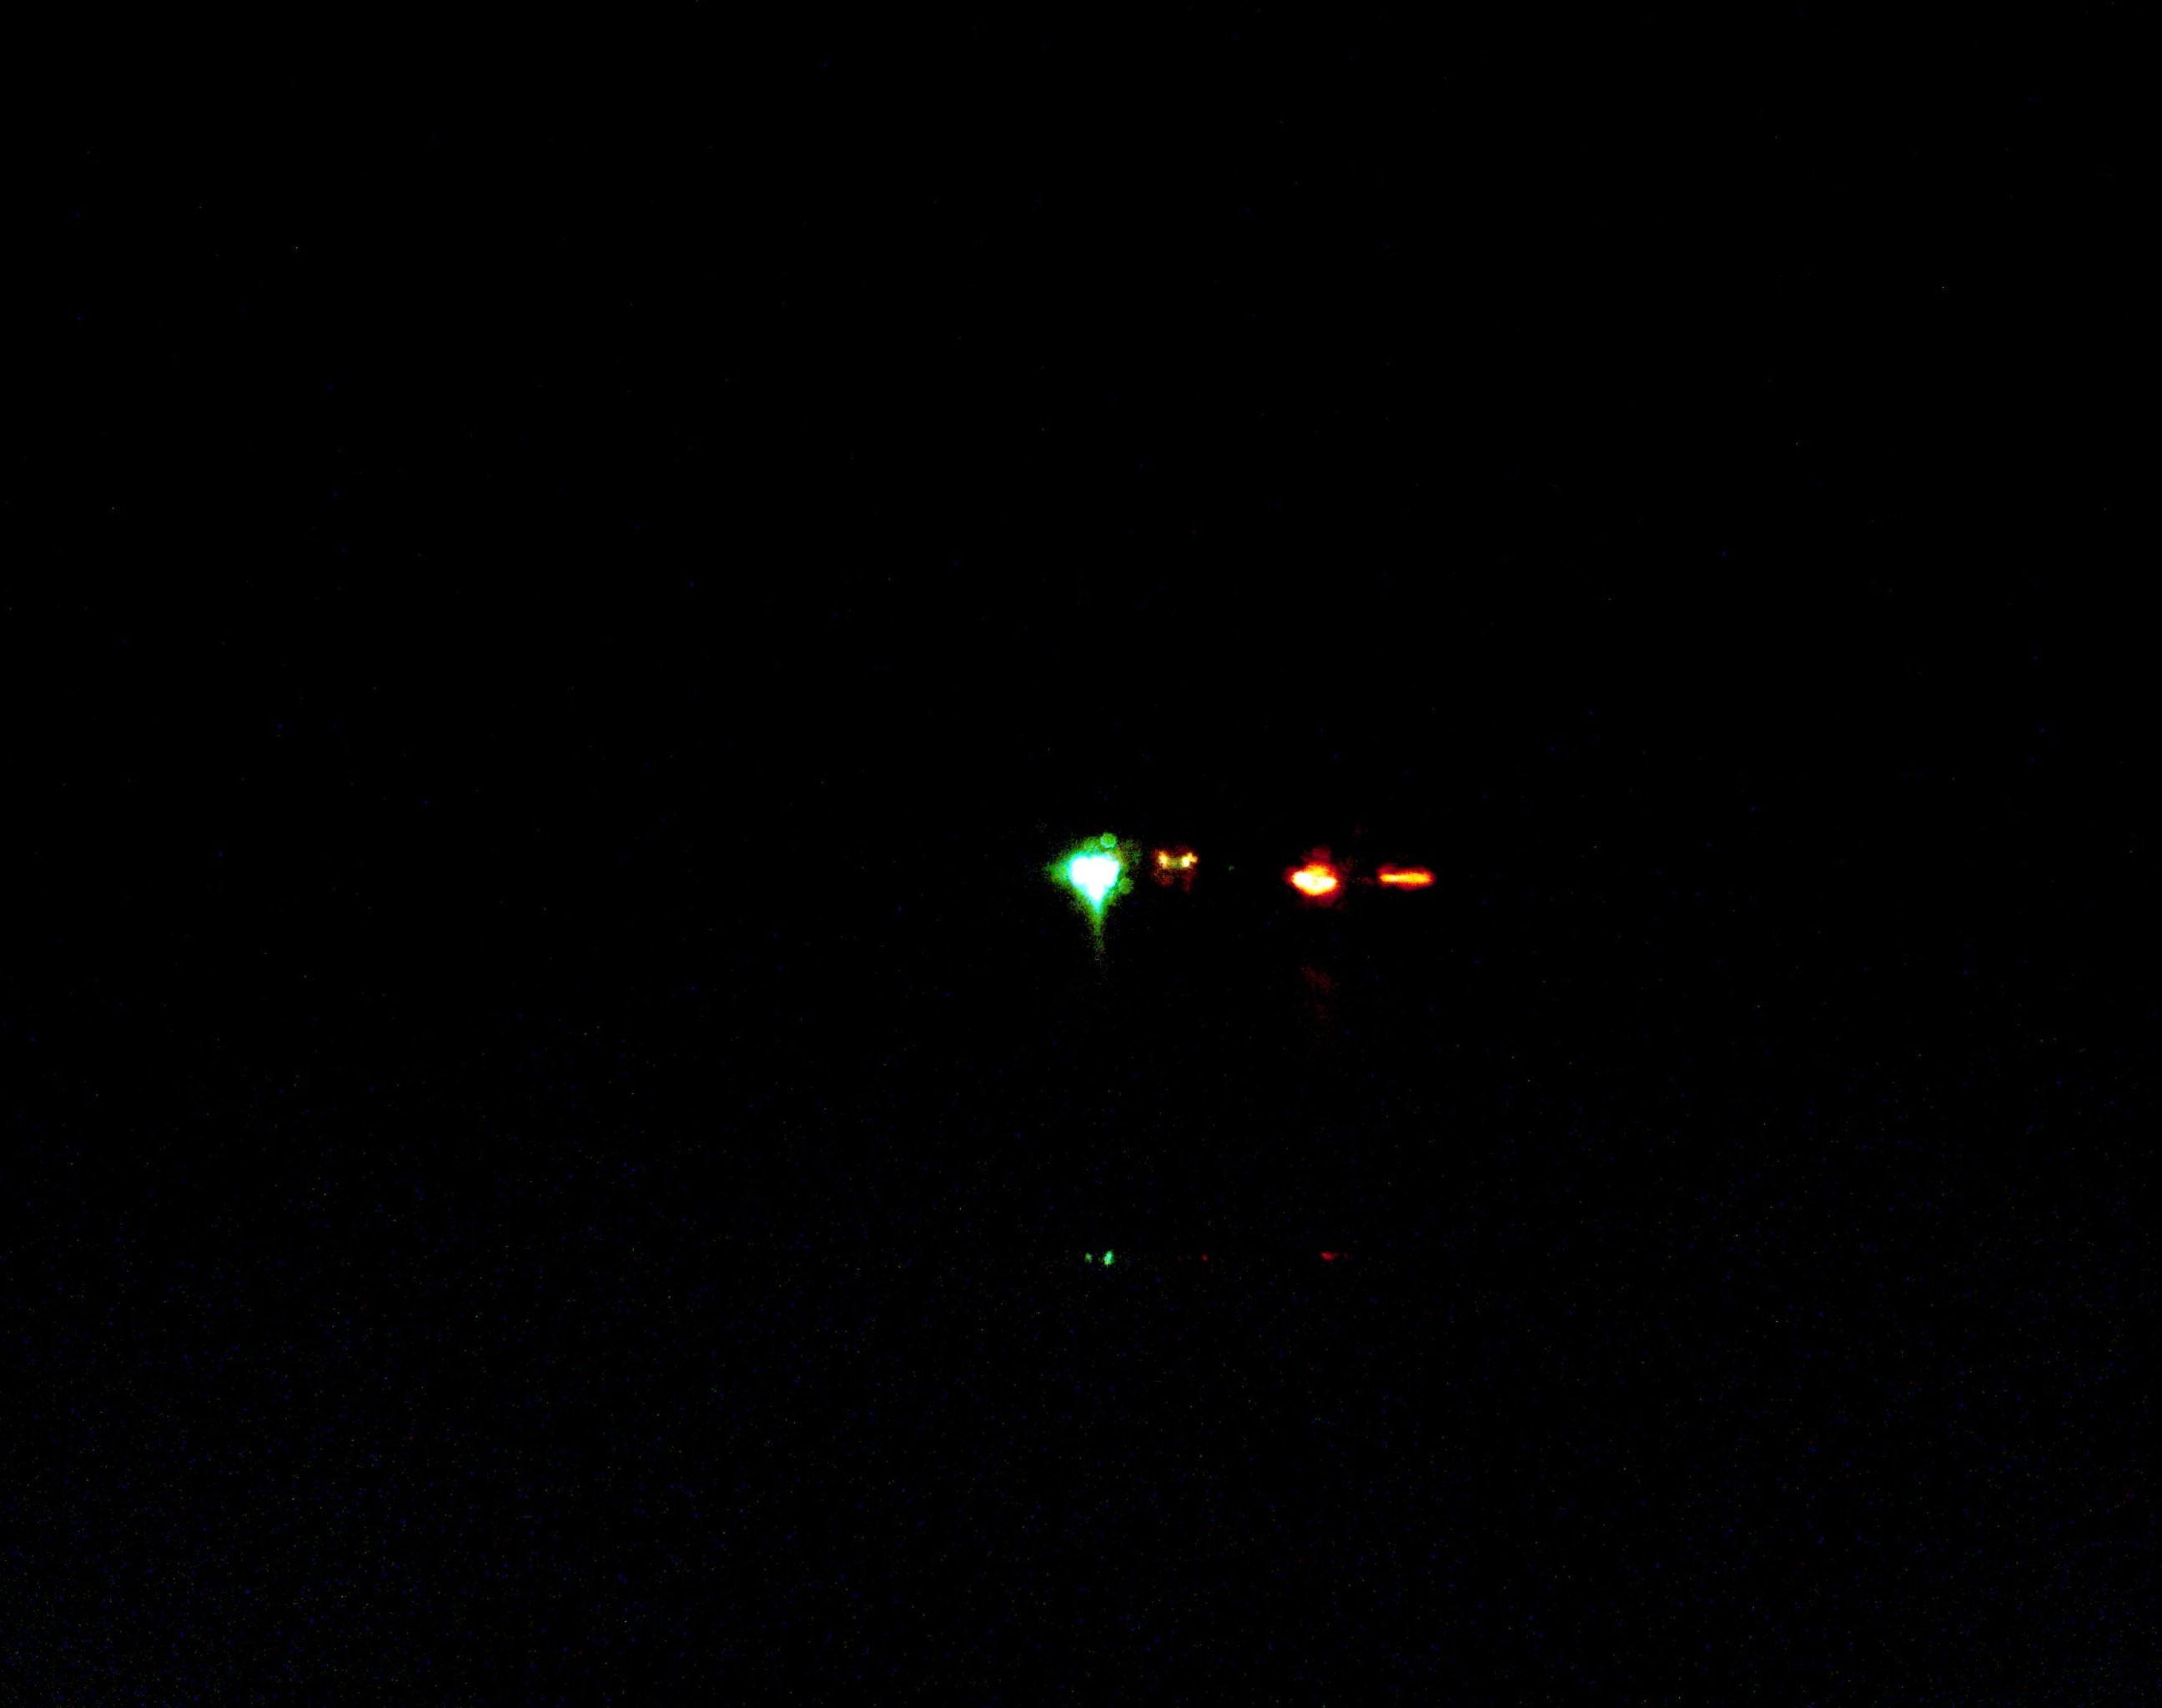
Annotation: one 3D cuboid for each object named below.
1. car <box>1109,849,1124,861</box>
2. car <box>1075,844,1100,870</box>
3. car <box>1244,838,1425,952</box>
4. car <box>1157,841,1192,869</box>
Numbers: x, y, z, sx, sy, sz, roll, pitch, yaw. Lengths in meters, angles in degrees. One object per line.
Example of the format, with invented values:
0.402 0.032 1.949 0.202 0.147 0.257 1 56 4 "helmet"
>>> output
5.376 0.187 115.128 2.112 1.702 4.000 -2 1 1 "car"
0.545 0.218 63.758 1.998 2.002 4.000 -1 1 1 "car"
4.376 0.622 13.828 1.951 1.718 4.000 -2 1 1 "car"
6.652 0.069 54.393 1.998 1.849 4.441 -2 1 1 "car"
